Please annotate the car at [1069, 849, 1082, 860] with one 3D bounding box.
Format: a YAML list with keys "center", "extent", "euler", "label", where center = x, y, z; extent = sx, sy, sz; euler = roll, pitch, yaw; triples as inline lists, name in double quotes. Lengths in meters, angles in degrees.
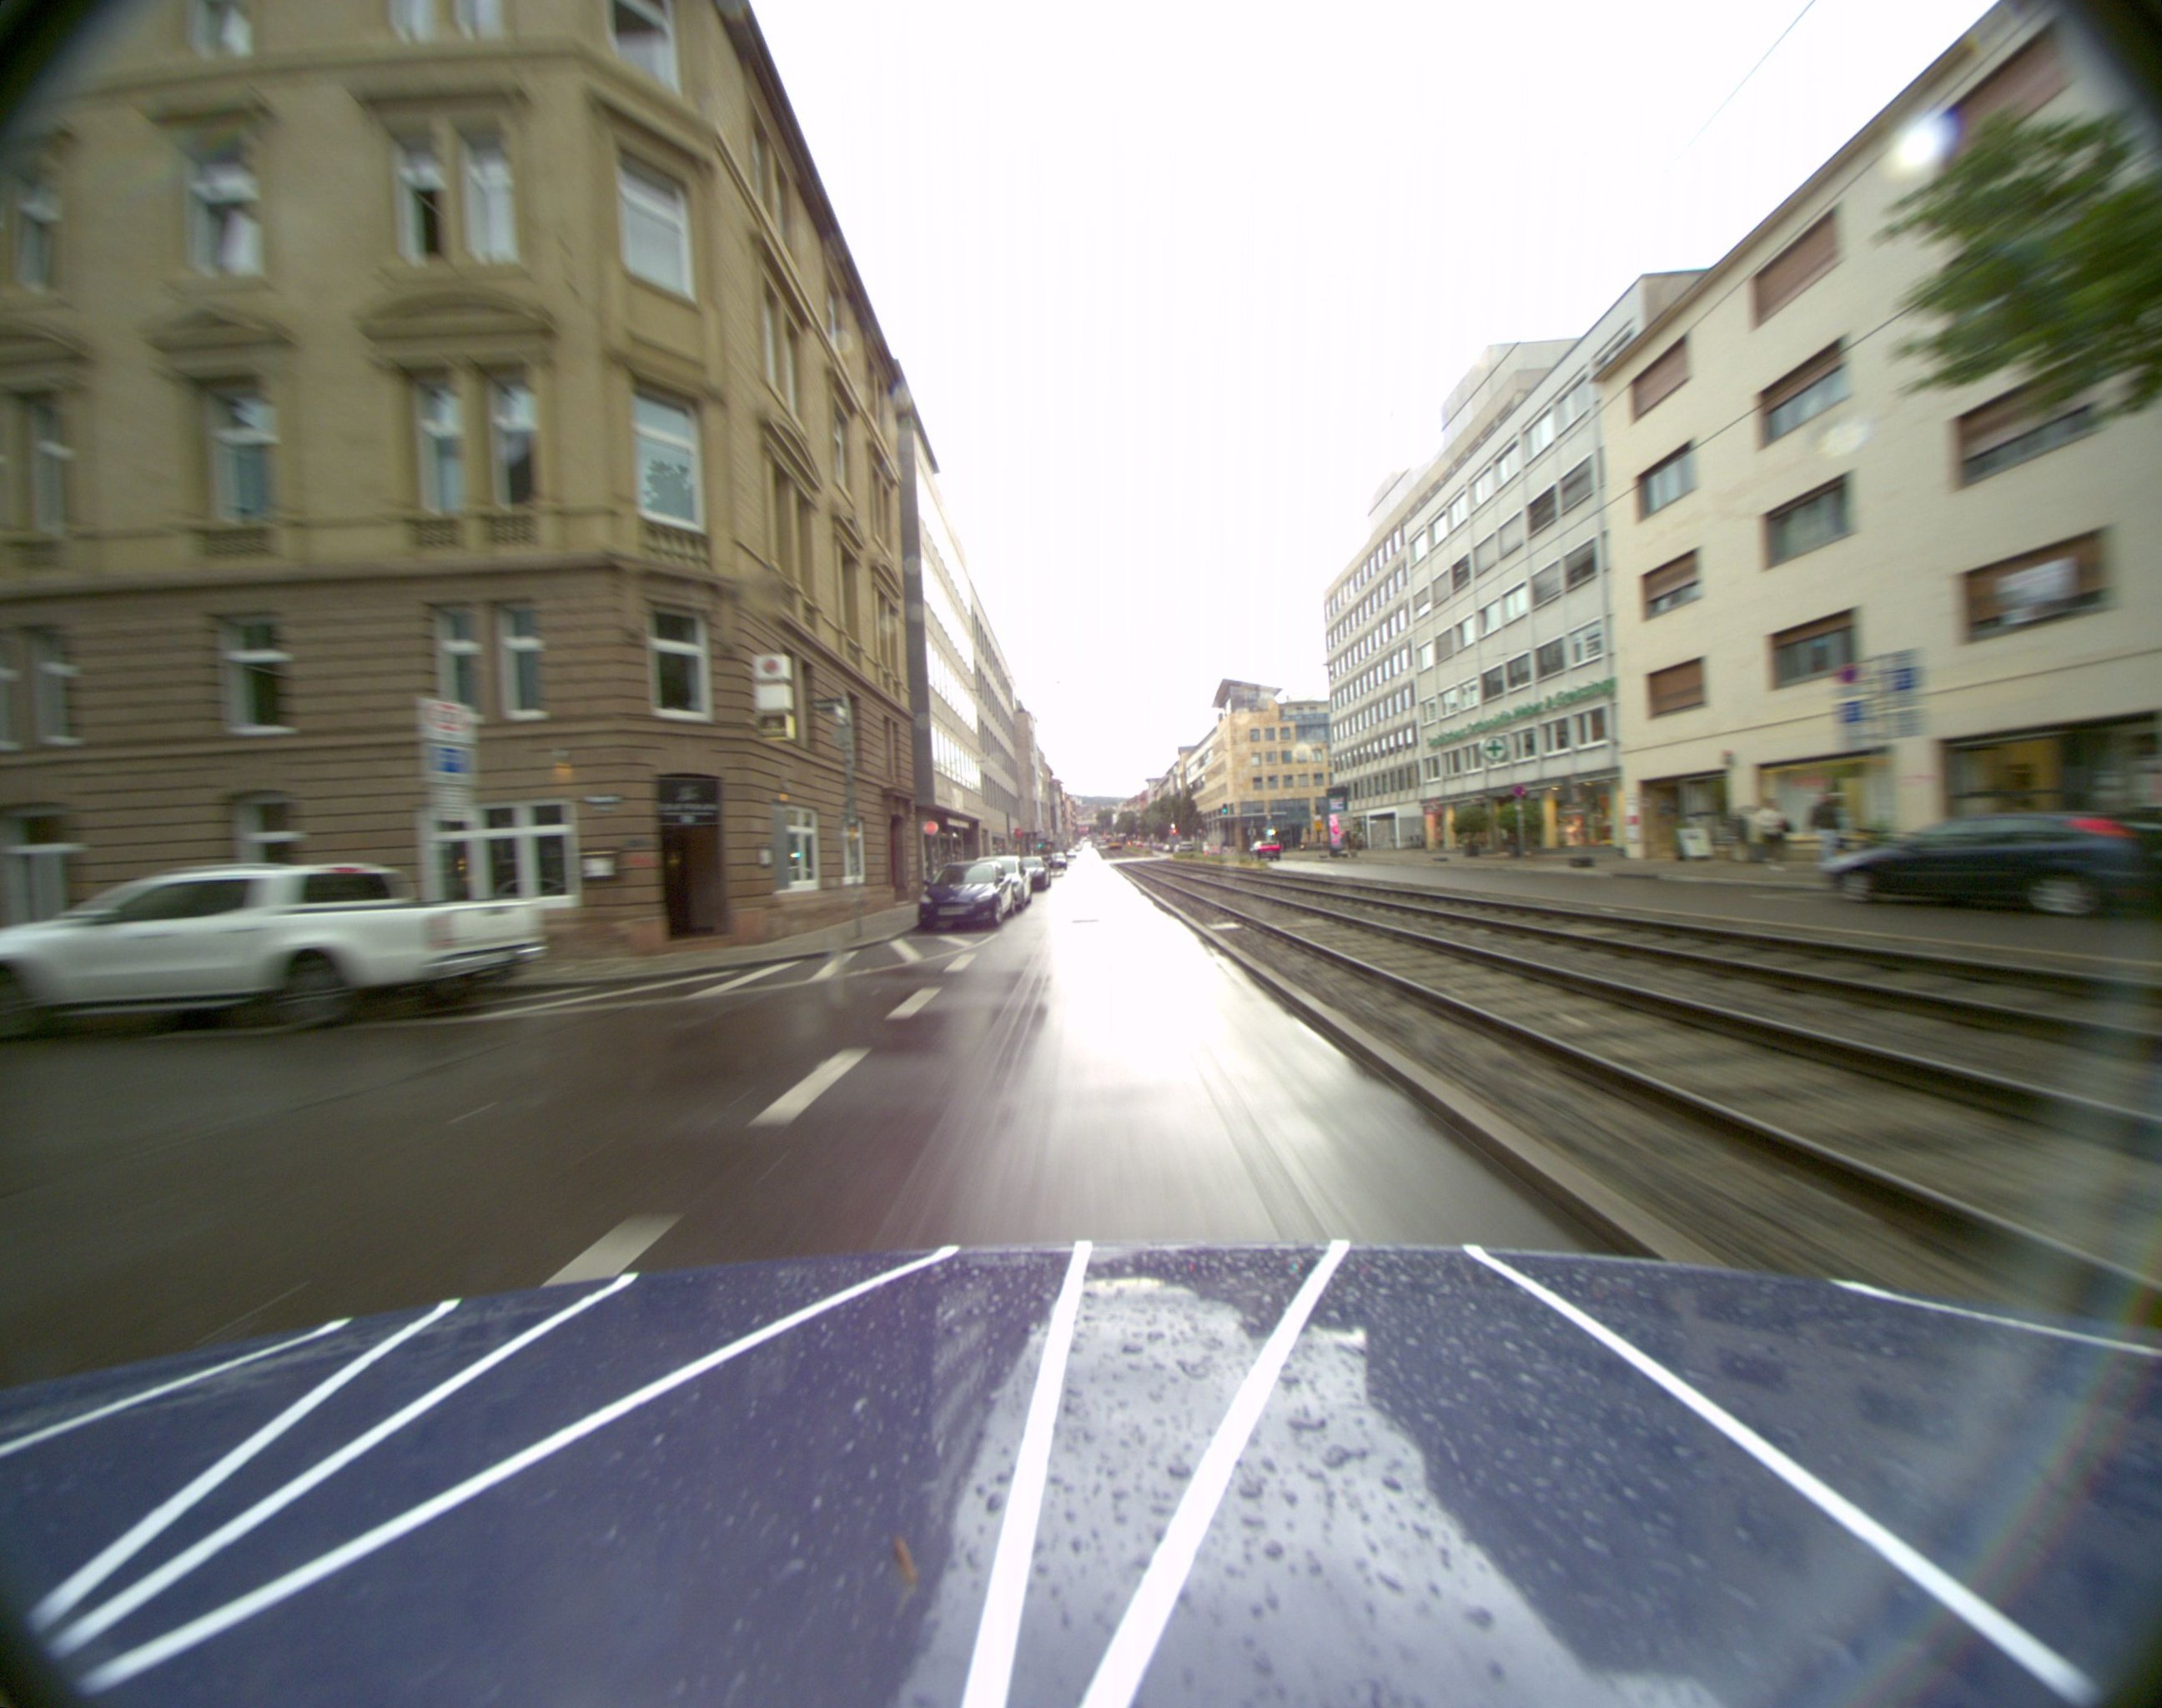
- center: [-0.952, 0.050, 127.402]
  extent: [2.029, 1.585, 4.619]
  euler: [-3, 2, 0]
  label: "car"

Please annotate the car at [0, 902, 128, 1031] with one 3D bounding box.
- center: [-14.642, 1.421, 8.731]
  extent: [4.571, 1.399, 2.094]
  euler: [-2, 0, -1]
  label: "car"

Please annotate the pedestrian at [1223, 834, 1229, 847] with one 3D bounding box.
- center: [21.057, -1.998, 110.442]
  extent: [0.703, 1.804, 0.679]
  euler: [-3, 1, 3]
  label: "pedestrian"

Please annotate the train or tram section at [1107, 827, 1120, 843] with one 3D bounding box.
- center: [8.812, -5.287, 209.099]
  extent: [2.909, 4.028, 18.761]
  euler: [-3, 2, 1]
  label: "train or tram section"

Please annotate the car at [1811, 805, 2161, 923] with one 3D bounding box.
- center: [13.973, 0.073, 11.534]
  extent: [1.748, 1.460, 4.219]
  euler: [-2, 1, 1]
  label: "car"

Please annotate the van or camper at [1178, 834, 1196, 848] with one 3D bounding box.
- center: [16.462, -2.079, 118.211]
  extent: [2.022, 1.986, 5.196]
  euler: [-3, 2, 1]
  label: "van or camper"

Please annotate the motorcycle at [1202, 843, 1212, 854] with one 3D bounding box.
- center: [12.611, -0.523, 75.977]
  extent: [0.744, 1.054, 1.931]
  euler: [-4, 1, 3]
  label: "motorcycle"

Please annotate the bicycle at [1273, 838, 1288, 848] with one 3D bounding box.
- center: [26.423, -1.445, 100.703]
  extent: [1.768, 1.303, 0.660]
  euler: [-3, 0, 0]
  label: "bicycle"

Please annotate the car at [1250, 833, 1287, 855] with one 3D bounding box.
- center: [14.712, -0.807, 59.924]
  extent: [1.998, 1.510, 4.444]
  euler: [-4, 1, 4]
  label: "car"

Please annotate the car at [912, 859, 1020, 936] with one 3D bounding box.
- center: [-2.605, 0.932, 18.171]
  extent: [1.724, 1.507, 4.258]
  euler: [-3, 0, 2]
  label: "car"

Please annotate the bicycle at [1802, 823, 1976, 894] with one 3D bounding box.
- center: [15.404, 0.063, 14.611]
  extent: [0.592, 1.220, 2.402]
  euler: [-4, 1, -6]
  label: "bicycle"

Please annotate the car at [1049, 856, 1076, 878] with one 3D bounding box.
- center: [-1.543, 1.093, 65.468]
  extent: [1.998, 1.585, 4.270]
  euler: [-3, 2, 1]
  label: "car"

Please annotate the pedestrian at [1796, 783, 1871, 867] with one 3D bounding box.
- center: [17.604, -0.671, 17.791]
  extent: [0.729, 1.885, 0.982]
  euler: [-4, 2, 1]
  label: "pedestrian"

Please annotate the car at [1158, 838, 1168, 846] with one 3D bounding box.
- center: [17.158, -2.483, 159.105]
  extent: [1.653, 1.532, 4.621]
  euler: [-3, 1, 1]
  label: "car"

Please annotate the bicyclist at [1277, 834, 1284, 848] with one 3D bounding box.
- center: [26.406, -1.684, 100.616]
  extent: [0.710, 1.794, 0.784]
  euler: [-3, 1, 1]
  label: "bicyclist"

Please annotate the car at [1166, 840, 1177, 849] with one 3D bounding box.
- center: [16.766, -1.754, 141.301]
  extent: [1.653, 1.489, 4.192]
  euler: [-3, 1, 1]
  label: "car"

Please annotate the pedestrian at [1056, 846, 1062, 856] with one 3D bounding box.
- center: [-3.670, -0.470, 126.711]
  extent: [0.793, 1.650, 0.721]
  euler: [-4, 2, 1]
  label: "pedestrian"

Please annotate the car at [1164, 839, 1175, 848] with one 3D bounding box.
- center: [17.009, -2.034, 146.627]
  extent: [1.653, 1.489, 4.292]
  euler: [-3, 1, 1]
  label: "car"

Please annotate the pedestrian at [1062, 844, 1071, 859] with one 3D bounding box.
- center: [-1.565, -0.279, 82.860]
  extent: [0.662, 1.573, 0.778]
  euler: [-3, 2, -21]
  label: "pedestrian"

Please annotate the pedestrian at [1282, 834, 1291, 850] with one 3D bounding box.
- center: [24.789, -1.440, 91.571]
  extent: [0.677, 1.771, 0.705]
  euler: [-3, 1, 36]
  label: "pedestrian"

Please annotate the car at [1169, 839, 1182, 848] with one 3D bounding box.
- center: [16.896, -1.945, 136.453]
  extent: [1.693, 1.477, 3.999]
  euler: [-4, 1, 0]
  label: "car"

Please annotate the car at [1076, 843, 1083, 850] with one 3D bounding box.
- center: [-0.265, -1.964, 193.907]
  extent: [1.653, 1.489, 4.066]
  euler: [-3, 1, 1]
  label: "car"

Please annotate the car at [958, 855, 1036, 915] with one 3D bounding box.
- center: [-2.431, 0.856, 23.037]
  extent: [1.750, 1.514, 4.355]
  euler: [-3, 0, 0]
  label: "car"

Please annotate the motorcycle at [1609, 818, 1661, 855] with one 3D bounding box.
- center: [19.438, -0.606, 26.660]
  extent: [1.480, 1.173, 0.386]
  euler: [-4, 1, 0]
  label: "motorcycle"

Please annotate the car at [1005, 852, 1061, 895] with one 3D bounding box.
- center: [-2.030, 0.803, 33.514]
  extent: [1.998, 1.585, 4.571]
  euler: [-3, 2, 1]
  label: "car"

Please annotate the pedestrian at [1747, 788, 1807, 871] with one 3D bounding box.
- center: [16.532, -0.577, 18.069]
  extent: [0.680, 1.885, 0.742]
  euler: [-4, 2, 1]
  label: "pedestrian"

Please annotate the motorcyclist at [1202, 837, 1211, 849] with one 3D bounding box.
- center: [12.569, -1.090, 75.948]
  extent: [0.743, 1.210, 0.970]
  euler: [-4, 1, 3]
  label: "motorcyclist"

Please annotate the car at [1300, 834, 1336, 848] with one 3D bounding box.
- center: [30.040, -1.589, 96.318]
  extent: [3.996, 1.521, 1.891]
  euler: [-3, 1, 2]
  label: "car"

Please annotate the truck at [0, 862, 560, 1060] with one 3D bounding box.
- center: [-9.383, 1.117, 8.842]
  extent: [5.072, 1.808, 2.083]
  euler: [-2, 1, -2]
  label: "truck"

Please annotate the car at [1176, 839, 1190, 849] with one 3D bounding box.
- center: [16.892, -1.611, 126.043]
  extent: [1.693, 1.477, 4.255]
  euler: [-4, 1, 0]
  label: "car"
